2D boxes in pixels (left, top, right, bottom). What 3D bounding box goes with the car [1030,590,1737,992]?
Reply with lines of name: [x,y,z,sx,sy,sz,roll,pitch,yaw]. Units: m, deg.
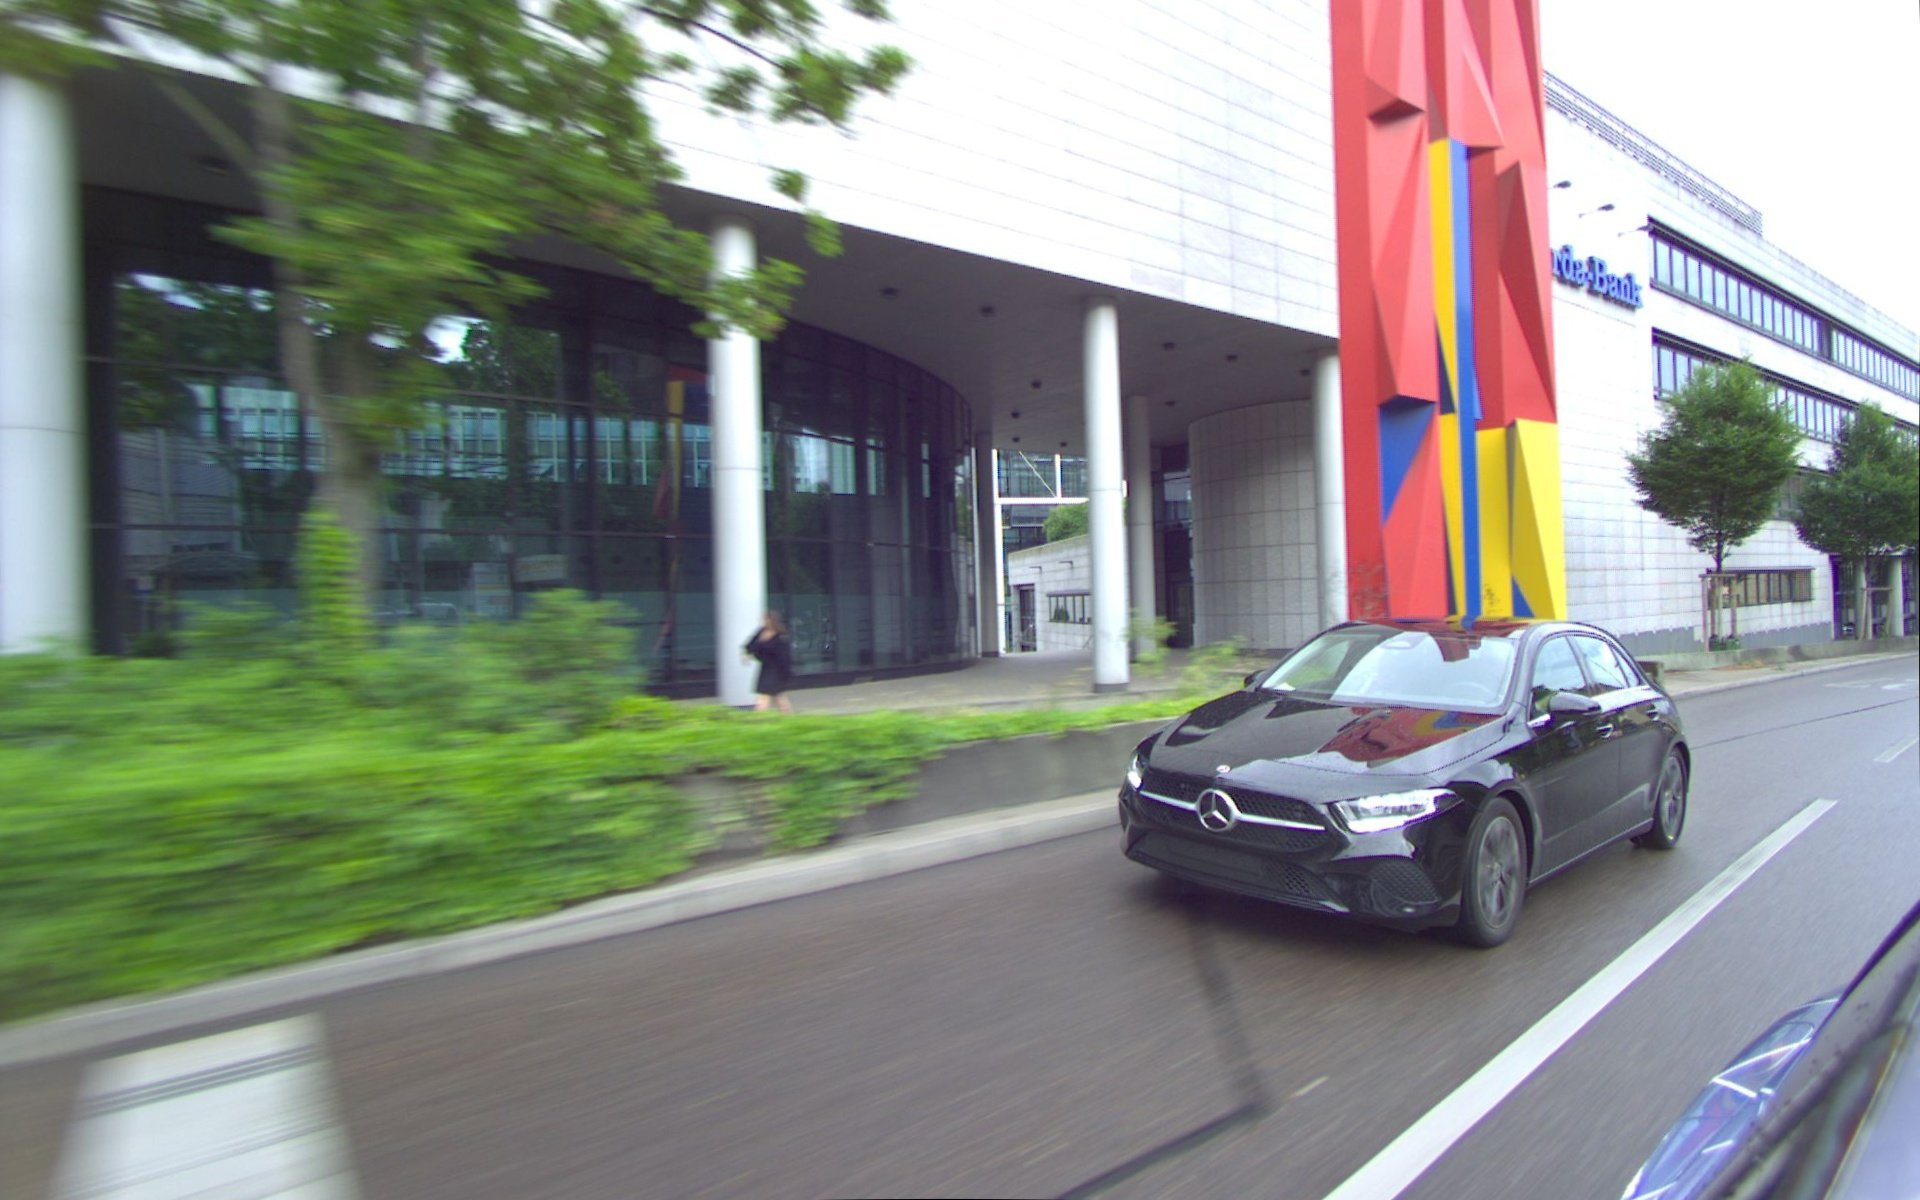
car: [2.558,0.713,5.689,4.127,1.455,1.877,1,-1,-38]

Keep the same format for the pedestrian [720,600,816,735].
pedestrian: [-2.427,0.811,12.768,0.827,1.606,0.972,0,0,-40]
